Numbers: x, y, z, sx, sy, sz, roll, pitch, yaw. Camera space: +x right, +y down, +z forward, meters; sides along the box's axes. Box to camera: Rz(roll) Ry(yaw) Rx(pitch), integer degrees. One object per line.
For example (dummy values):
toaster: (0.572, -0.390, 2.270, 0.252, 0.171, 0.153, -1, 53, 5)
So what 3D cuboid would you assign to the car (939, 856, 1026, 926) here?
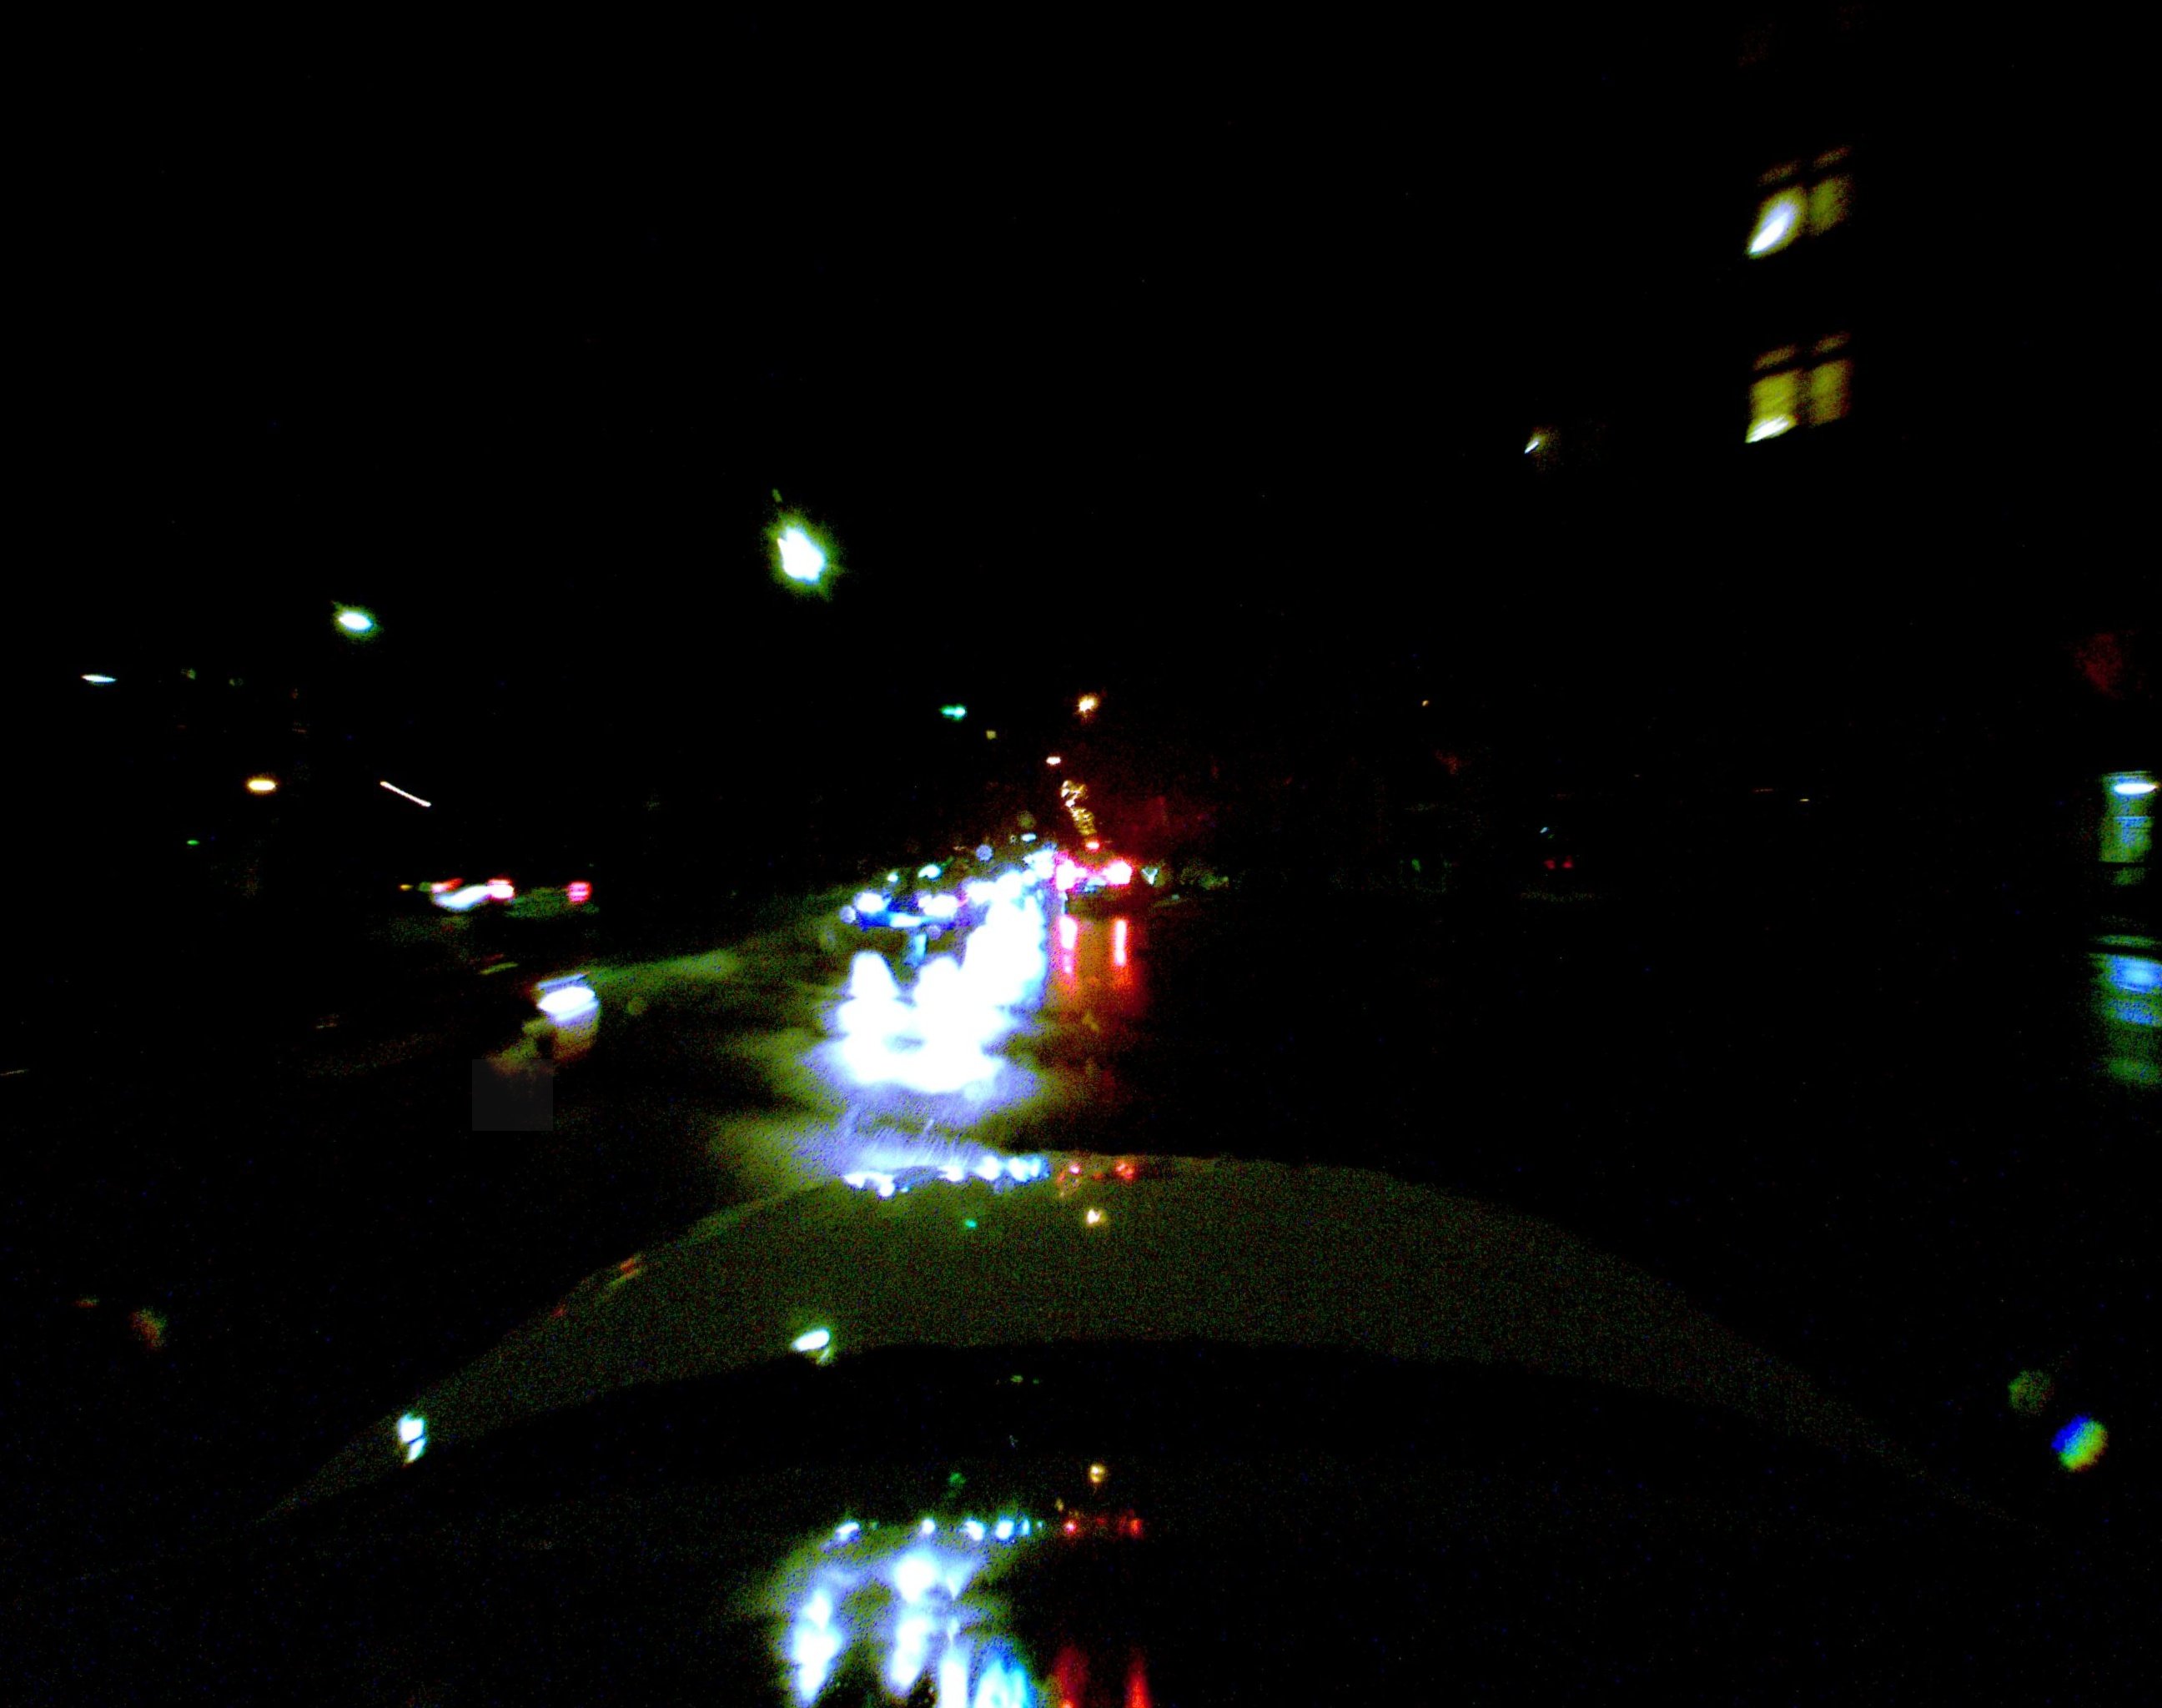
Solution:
car: (-2.442, 0.863, 21.035, 1.663, 1.562, 4.008, -1, 0, 1)

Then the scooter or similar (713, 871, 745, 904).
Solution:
scooter or similar: (-13.703, 1.311, 31.701, 1.082, 1.240, 0.283, -1, 0, -28)

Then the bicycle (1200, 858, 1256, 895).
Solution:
bicycle: (5.429, 0.814, 30.035, 1.893, 1.251, 0.595, -3, 0, -5)

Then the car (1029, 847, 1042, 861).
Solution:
car: (-6.517, 0.011, 117.409, 1.720, 1.972, 4.217, -1, 1, -3)

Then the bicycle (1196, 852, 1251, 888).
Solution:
bicycle: (5.376, 0.594, 30.734, 1.893, 1.251, 0.595, -3, 0, -5)

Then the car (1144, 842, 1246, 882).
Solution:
car: (4.915, 0.311, 34.841, 4.206, 1.457, 1.836, -4, 1, -37)

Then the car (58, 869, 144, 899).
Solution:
car: (-61.321, 1.868, 50.966, 4.283, 1.780, 2.099, -1, 1, 20)

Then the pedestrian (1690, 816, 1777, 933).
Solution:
pedestrian: (11.809, 0.353, 14.776, 0.965, 2.013, 1.021, -1, 3, 20)

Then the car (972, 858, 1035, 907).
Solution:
car: (-2.510, 0.894, 27.194, 1.663, 1.420, 4.097, -1, 0, 0)

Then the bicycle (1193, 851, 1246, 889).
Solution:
bicycle: (5.444, 0.612, 31.993, 1.893, 1.360, 0.595, -3, 0, -5)

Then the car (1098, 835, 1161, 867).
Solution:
car: (4.060, -0.258, 67.945, 5.034, 2.391, 2.115, -4, 1, -38)

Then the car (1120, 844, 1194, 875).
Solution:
car: (4.652, 0.290, 49.921, 4.187, 1.645, 1.758, -3, 1, -21)

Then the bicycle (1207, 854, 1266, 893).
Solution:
bicycle: (5.515, 0.676, 29.004, 1.893, 1.251, 0.709, -3, 0, -5)

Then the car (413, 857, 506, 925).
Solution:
car: (-18.625, 1.011, 24.344, 1.908, 1.780, 4.282, -2, 1, -41)

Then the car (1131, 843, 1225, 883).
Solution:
car: (4.544, 0.392, 38.023, 4.206, 1.576, 1.861, -4, 1, -37)

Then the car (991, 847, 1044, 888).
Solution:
car: (-2.591, 0.507, 34.214, 1.782, 1.554, 4.854, -1, 0, 0)

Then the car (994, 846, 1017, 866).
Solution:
car: (-7.567, 0.166, 81.559, 1.727, 1.972, 3.710, -1, 1, -14)

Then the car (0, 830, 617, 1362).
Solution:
car: (-4.064, 0.712, 3.176, 1.812, 1.542, 4.724, -1, 0, -1)

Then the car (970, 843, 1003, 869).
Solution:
car: (-7.783, 0.141, 66.777, 1.996, 1.972, 4.277, -1, 1, -17)

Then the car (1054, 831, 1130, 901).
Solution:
car: (0.340, 0.337, 25.730, 2.161, 1.972, 4.302, -2, 1, 1)

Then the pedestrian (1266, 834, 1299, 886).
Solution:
pedestrian: (7.420, 0.202, 30.041, 0.954, 1.881, 1.000, -1, 1, 1)

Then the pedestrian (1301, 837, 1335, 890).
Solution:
pedestrian: (7.436, 0.281, 25.585, 0.778, 1.617, 1.000, -1, 1, 1)

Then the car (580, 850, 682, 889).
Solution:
car: (-22.282, 0.722, 40.509, 1.682, 1.700, 4.218, 0, 2, 25)

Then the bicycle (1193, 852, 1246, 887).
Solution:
bicycle: (5.333, 0.590, 31.383, 1.893, 1.251, 0.595, -3, 0, -5)

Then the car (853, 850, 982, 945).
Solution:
car: (-2.957, 0.709, 15.540, 1.702, 1.542, 3.987, -1, 0, -1)
